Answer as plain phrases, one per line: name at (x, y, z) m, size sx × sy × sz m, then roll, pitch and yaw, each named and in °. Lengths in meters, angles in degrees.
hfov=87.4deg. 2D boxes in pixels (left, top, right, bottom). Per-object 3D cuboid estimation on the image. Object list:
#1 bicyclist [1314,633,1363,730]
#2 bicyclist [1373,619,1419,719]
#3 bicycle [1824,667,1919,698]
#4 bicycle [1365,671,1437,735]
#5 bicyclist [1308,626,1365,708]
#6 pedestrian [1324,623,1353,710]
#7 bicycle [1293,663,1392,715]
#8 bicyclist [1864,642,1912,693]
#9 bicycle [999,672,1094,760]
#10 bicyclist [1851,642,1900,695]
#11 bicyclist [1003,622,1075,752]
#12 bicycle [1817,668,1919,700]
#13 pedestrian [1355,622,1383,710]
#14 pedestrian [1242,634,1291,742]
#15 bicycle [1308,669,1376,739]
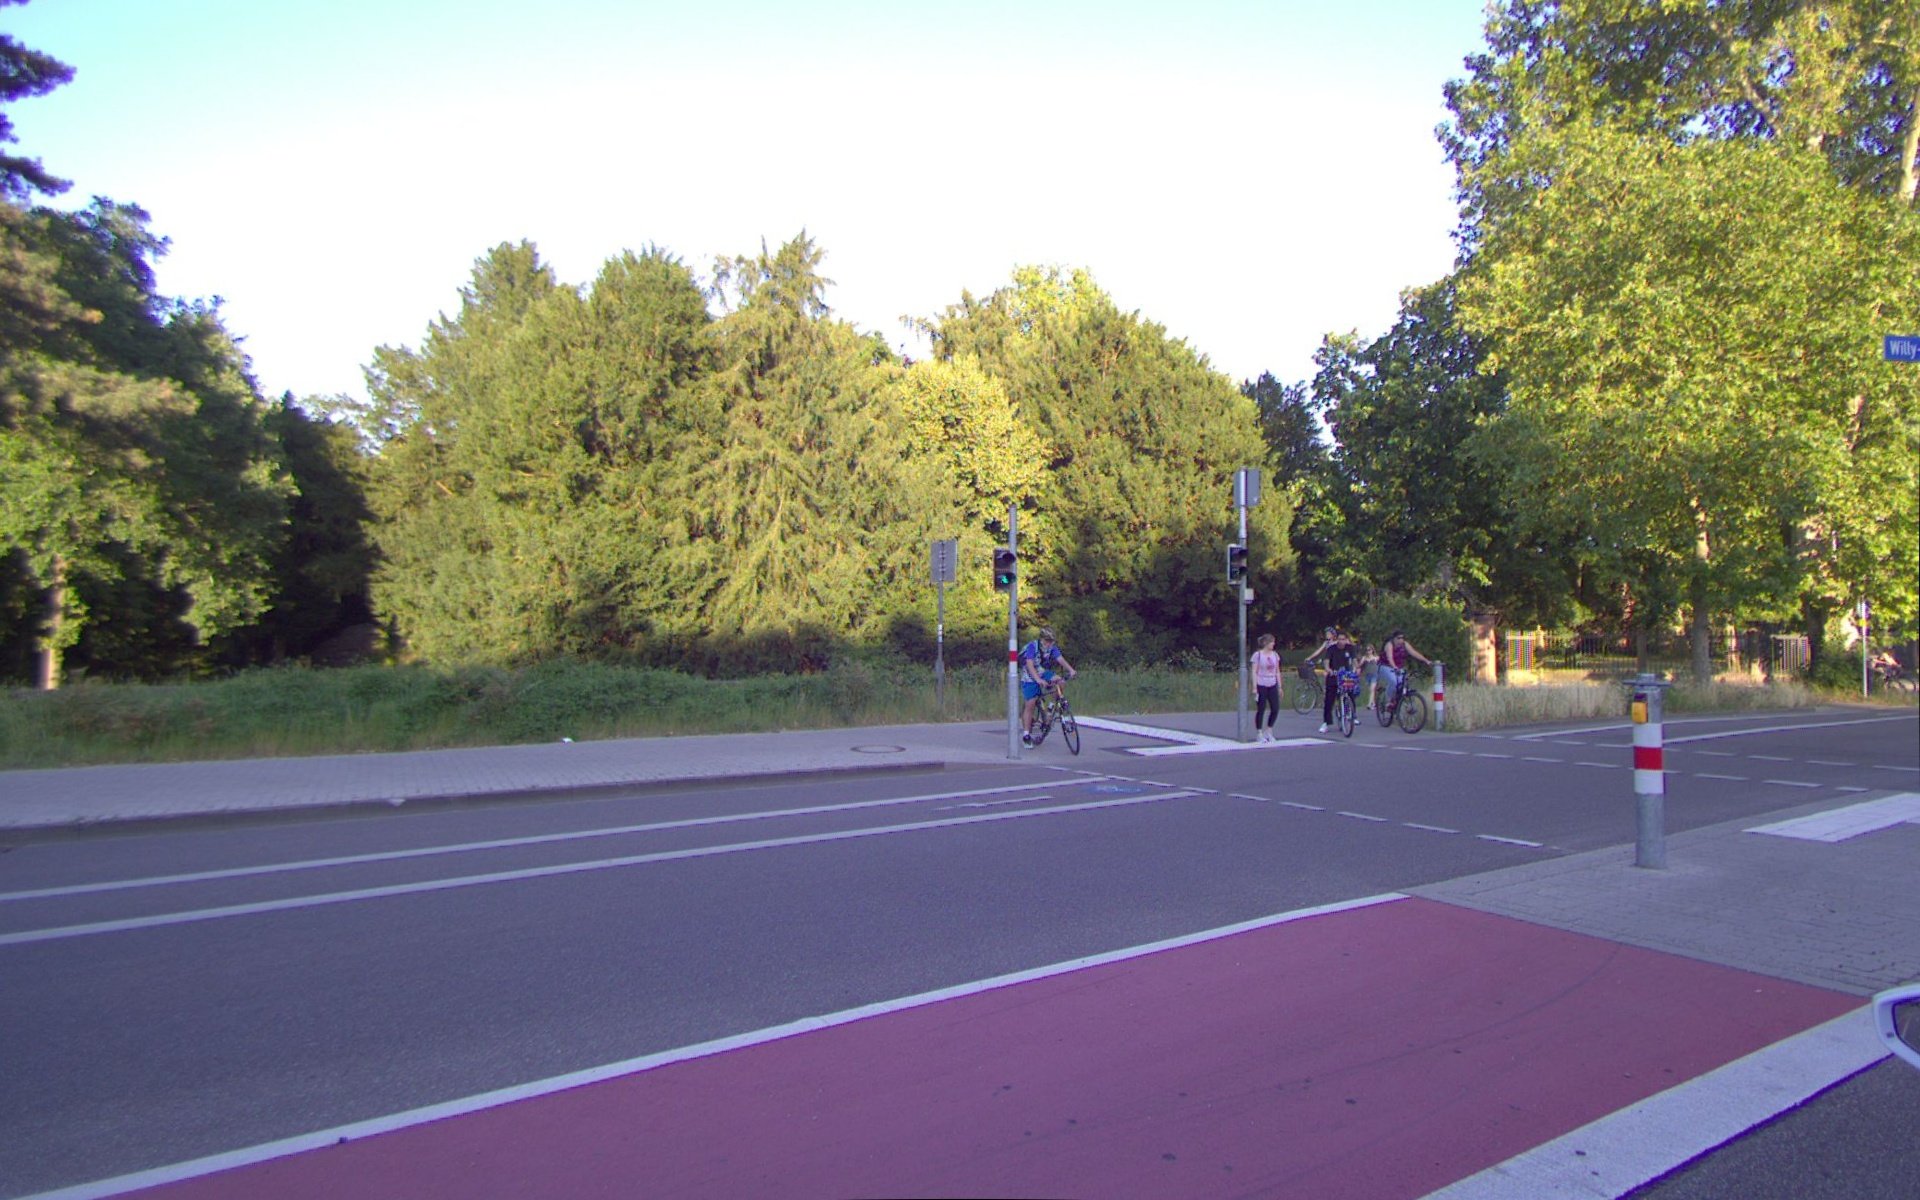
bicyclist at (6.624, 1.415, 17.608) m, size 0.618 × 1.671 × 0.640 m, roll 0°, pitch -2°, yaw 1°
bicyclist at (8.030, 1.261, 18.531) m, size 0.564 × 1.803 × 0.640 m, roll 0°, pitch -2°, yaw 1°
bicycle at (30.445, 2.727, 33.432) m, size 0.765 × 0.936 × 2.420 m, roll 1°, pitch -2°, yaw -29°
bicycle at (8.015, 1.847, 18.335) m, size 0.568 × 1.043 × 1.772 m, roll 0°, pitch -2°, yaw 1°
bicyclist at (8.241, 1.445, 22.010) m, size 0.933 × 1.751 × 0.751 m, roll 1°, pitch -1°, yaw -31°
pedestrian at (9.052, 1.577, 24.010) m, size 0.638 × 2.040 × 0.606 m, roll 0°, pitch -1°, yaw 22°
bicycle at (8.420, 1.942, 22.067) m, size 2.269 × 1.046 × 0.736 m, roll 2°, pitch -1°, yaw -29°
bicyclist at (30.618, 2.221, 33.151) m, size 0.743 × 1.652 × 0.954 m, roll 1°, pitch -2°, yaw -29°
bicycle at (1.229, 1.662, 14.791) m, size 0.759 × 1.115 × 2.117 m, roll 1°, pitch -2°, yaw -14°
bicyclist at (29.268, 2.178, 32.128) m, size 0.743 × 1.652 × 0.954 m, roll 1°, pitch -2°, yaw -29°
bicyclist at (1.172, 1.270, 14.944) m, size 0.730 × 1.848 × 0.705 m, roll 3°, pitch -1°, yaw -34°
bicycle at (29.198, 2.678, 32.262) m, size 0.765 × 0.936 × 2.420 m, roll 1°, pitch -2°, yaw -29°
pedestrian at (9.625, 1.535, 23.644) m, size 0.584 × 2.040 × 0.642 m, roll 0°, pitch -1°, yaw 20°
pedestrian at (4.994, 1.411, 16.380) m, size 0.492 × 1.718 × 0.604 m, roll 1°, pitch -2°, yaw -28°
bicycle at (6.618, 1.782, 17.480) m, size 0.620 × 1.126 × 1.569 m, roll 0°, pitch -2°, yaw 1°
